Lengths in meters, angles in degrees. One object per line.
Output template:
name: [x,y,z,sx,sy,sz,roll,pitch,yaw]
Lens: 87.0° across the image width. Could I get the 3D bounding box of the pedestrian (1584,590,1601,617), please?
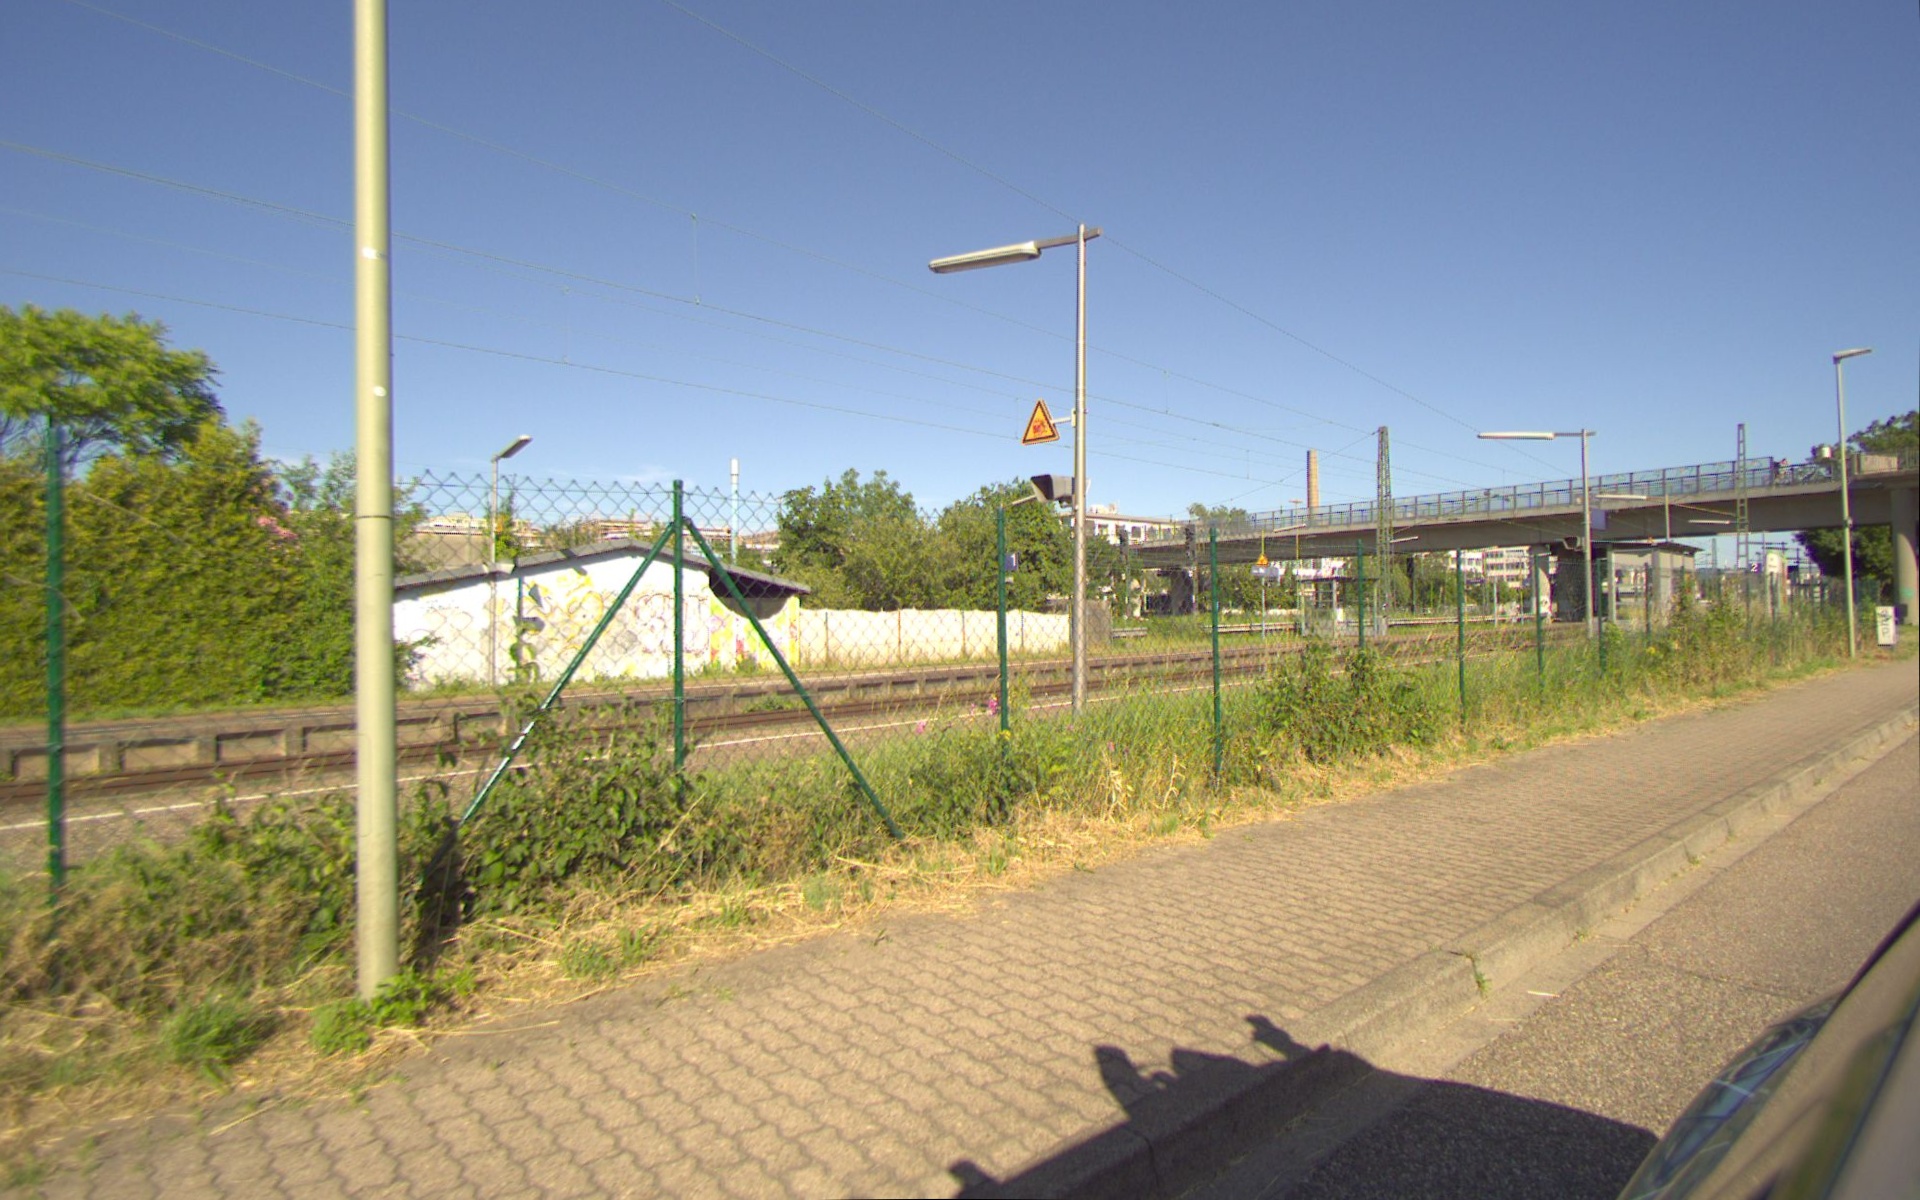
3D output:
pedestrian: [49.312,0.276,78.881,0.822,2.039,0.894,0,-1,-43]
